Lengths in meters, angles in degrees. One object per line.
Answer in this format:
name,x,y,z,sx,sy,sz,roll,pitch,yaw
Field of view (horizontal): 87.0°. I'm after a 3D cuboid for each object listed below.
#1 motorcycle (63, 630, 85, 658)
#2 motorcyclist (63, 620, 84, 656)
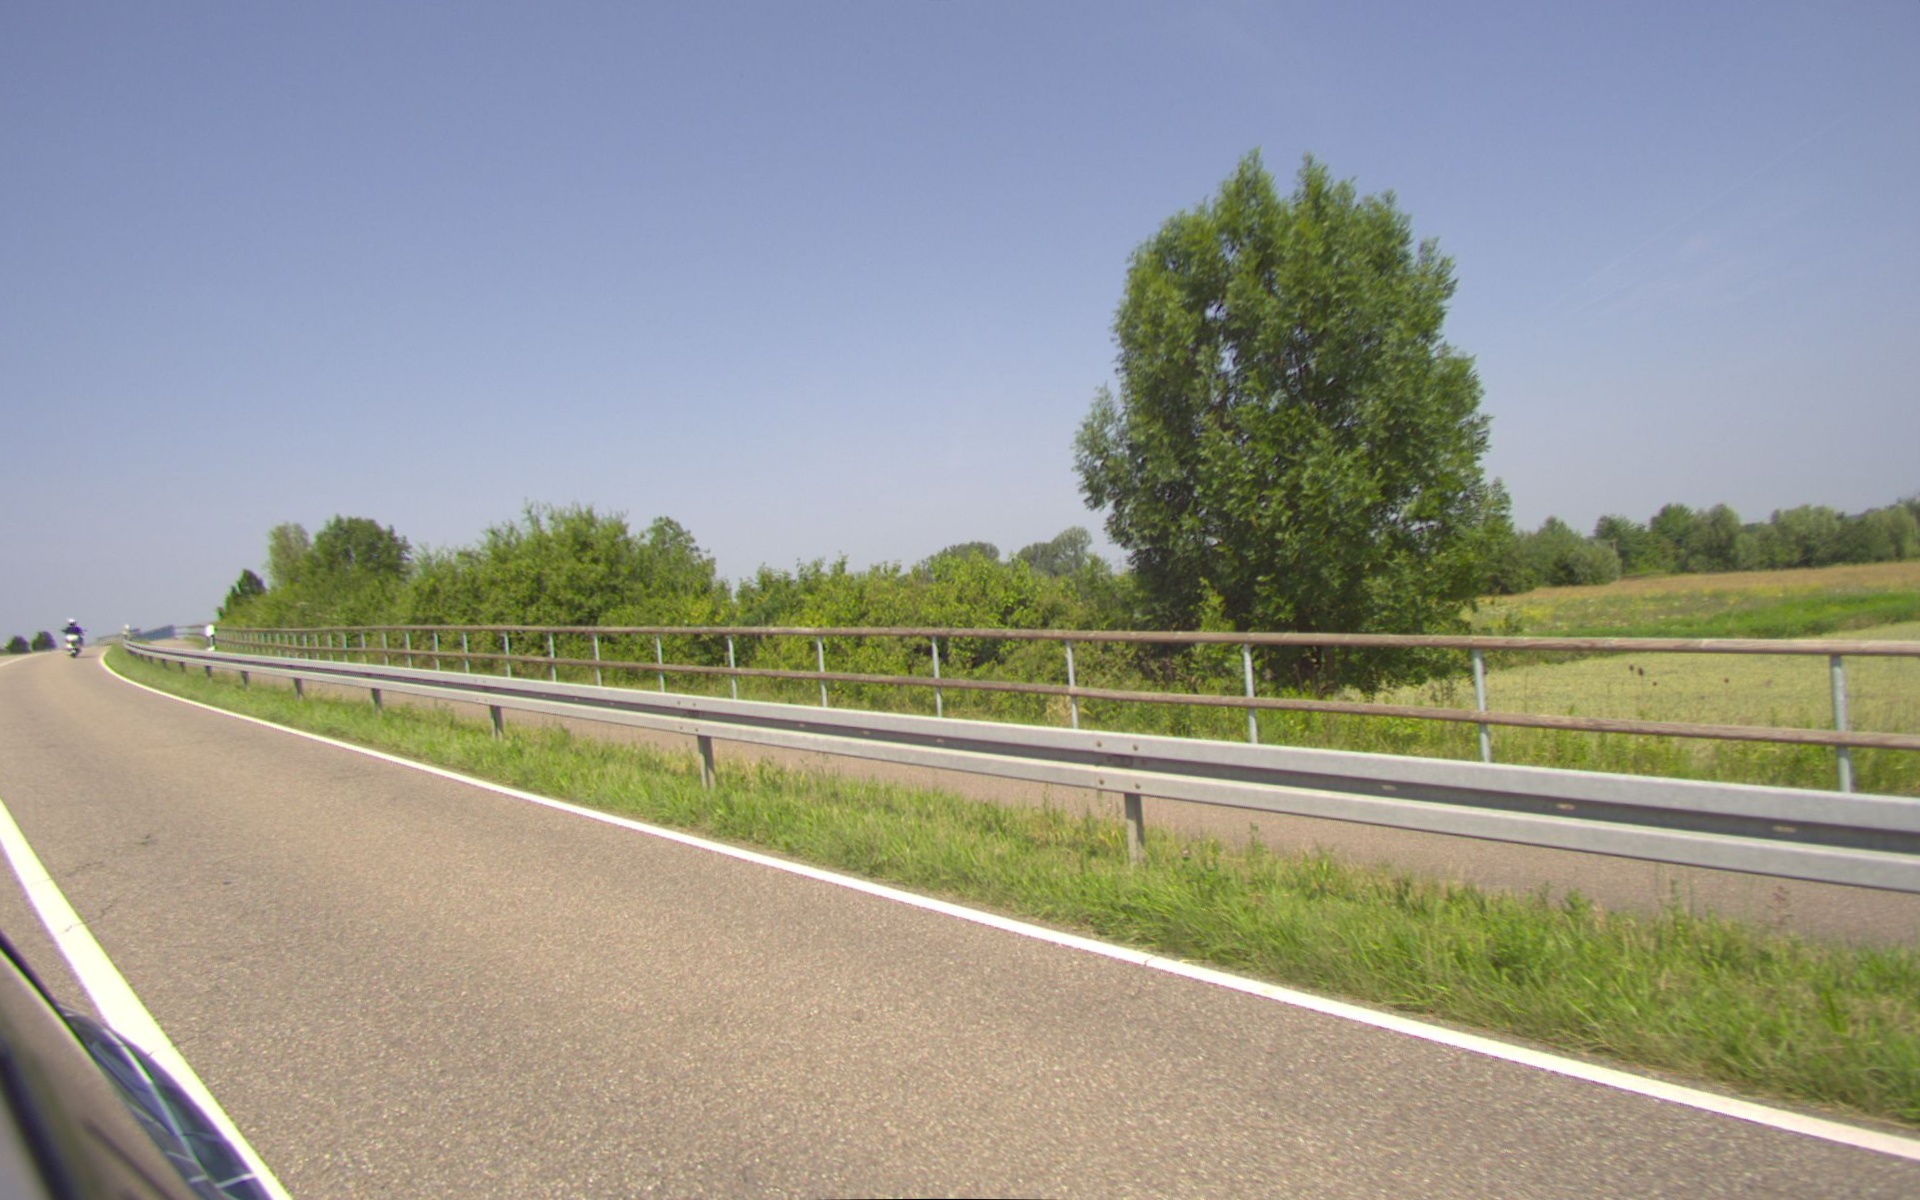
motorcycle,-39.791,1.986,45.435,1.639,1.233,0.635,-2,-2,45
motorcyclist,-39.794,1.711,45.420,0.776,1.574,0.647,-2,-2,45
